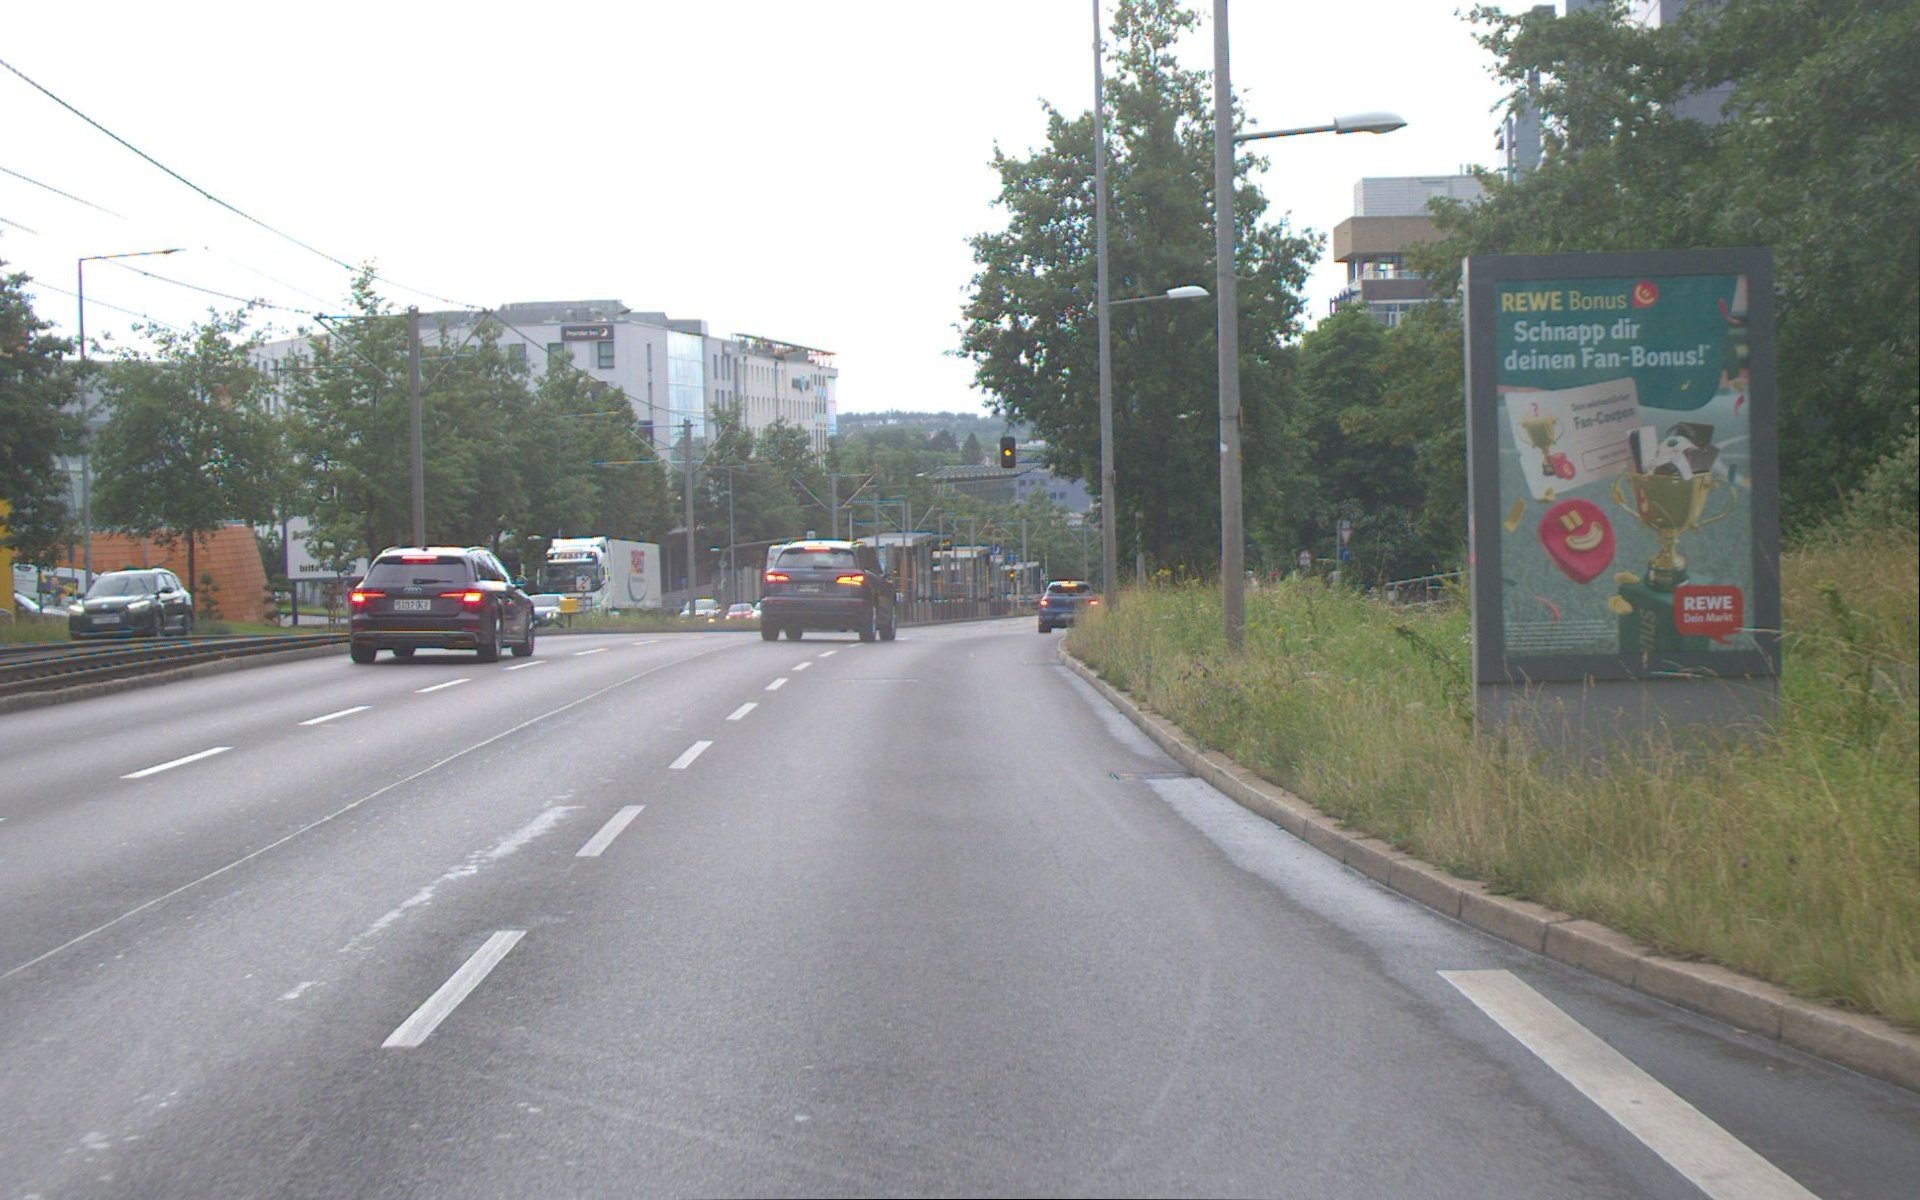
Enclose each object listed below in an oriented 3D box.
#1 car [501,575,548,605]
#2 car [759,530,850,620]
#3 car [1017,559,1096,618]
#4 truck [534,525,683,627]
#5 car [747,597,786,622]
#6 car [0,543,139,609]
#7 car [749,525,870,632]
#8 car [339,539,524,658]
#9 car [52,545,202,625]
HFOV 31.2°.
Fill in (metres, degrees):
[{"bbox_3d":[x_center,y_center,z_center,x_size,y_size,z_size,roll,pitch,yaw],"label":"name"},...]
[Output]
[{"bbox_3d":[-21.785,-0.498,171.949,1.667,1.457,4.238,0,0,2],"label":"car"},{"bbox_3d":[-4.051,-0.686,90.224,2.268,2.277,4.760,0,1,-1],"label":"car"},{"bbox_3d":[2.718,-0.345,97.287,1.789,1.585,4.001,-2,1,-4],"label":"car"},{"bbox_3d":[-15.119,-1.122,149.642,3.042,4.166,17.198,0,1,6],"label":"truck"},{"bbox_3d":[-10.978,0.556,195.417,1.663,1.437,3.896,0,0,5],"label":"car"},{"bbox_3d":[-32.408,-0.855,123.716,5.302,2.305,2.020,0,-1,-5],"label":"car"},{"bbox_3d":[-2.499,-0.386,56.930,1.922,1.704,4.099,0,1,-3],"label":"car"},{"bbox_3d":[-6.578,-0.061,43.224,1.785,1.409,4.806,0,1,-2],"label":"car"},{"bbox_3d":[-17.396,-0.287,72.004,1.805,1.611,4.385,0,0,4],"label":"car"}]
